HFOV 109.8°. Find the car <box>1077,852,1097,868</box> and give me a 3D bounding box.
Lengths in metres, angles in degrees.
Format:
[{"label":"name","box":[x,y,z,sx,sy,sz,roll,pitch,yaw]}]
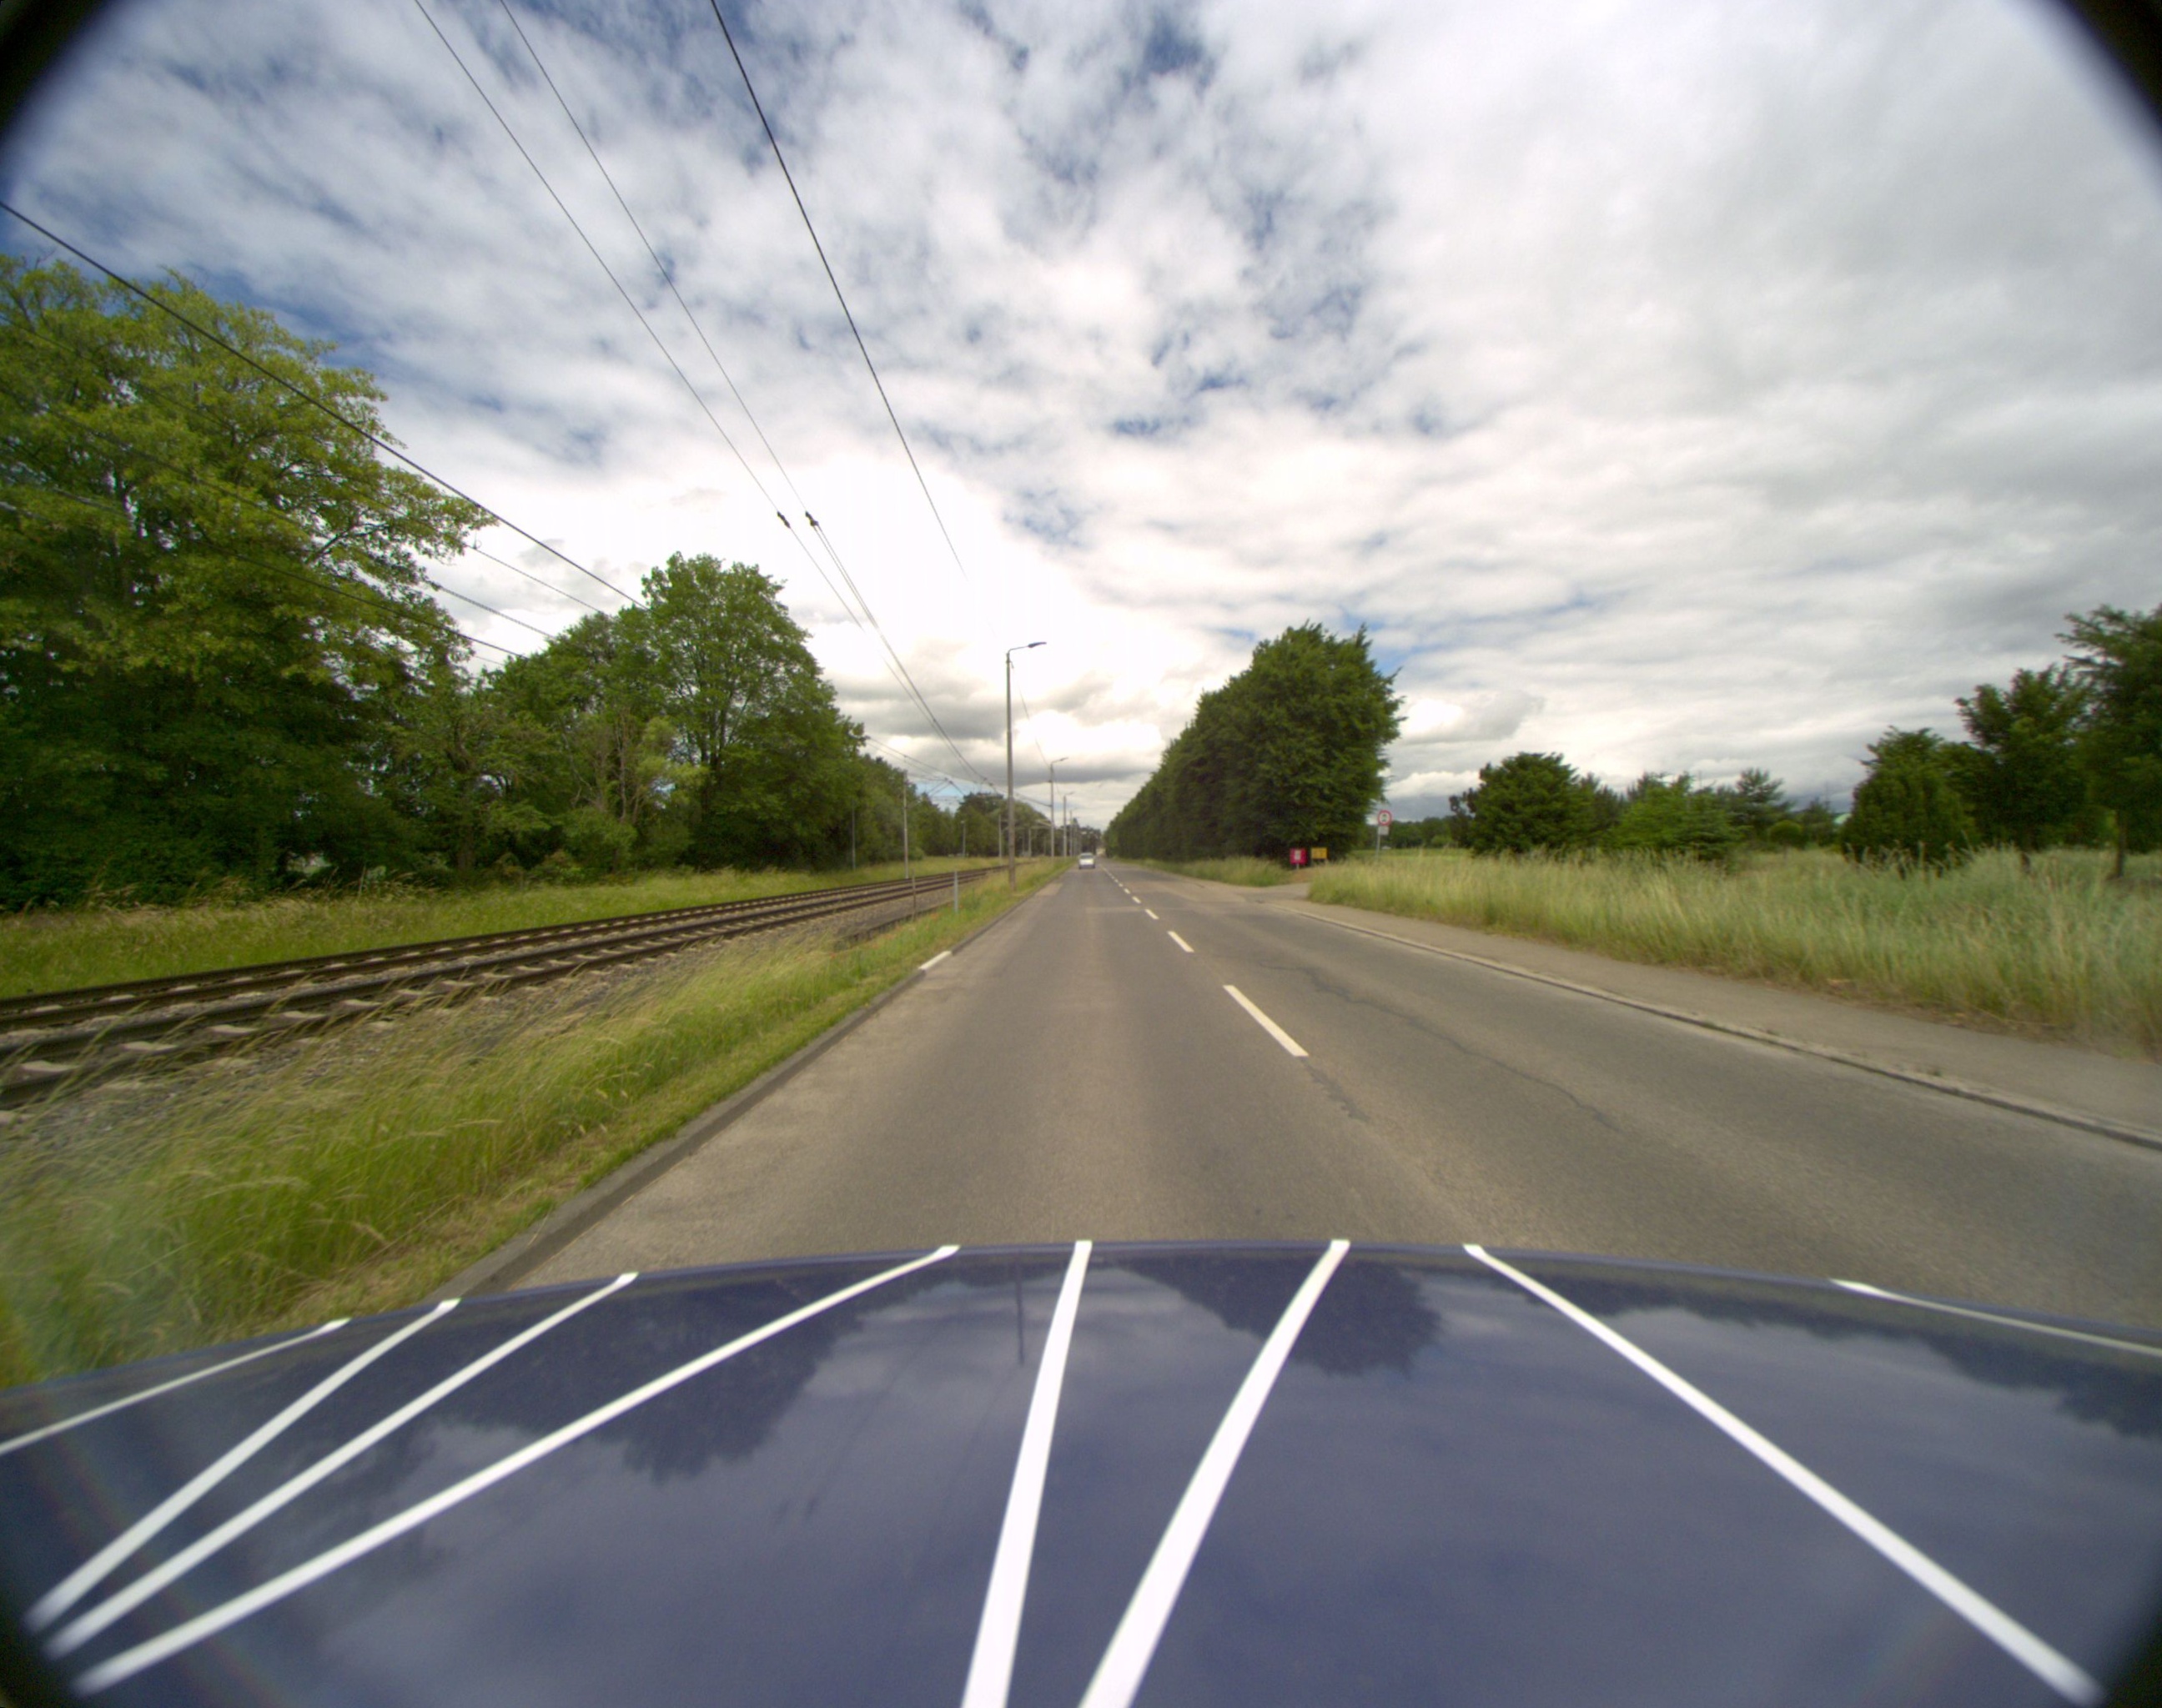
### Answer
[{"label":"car","box":[0.649,0.597,80.270,1.999,1.679,3.999,1,0,0]}]
